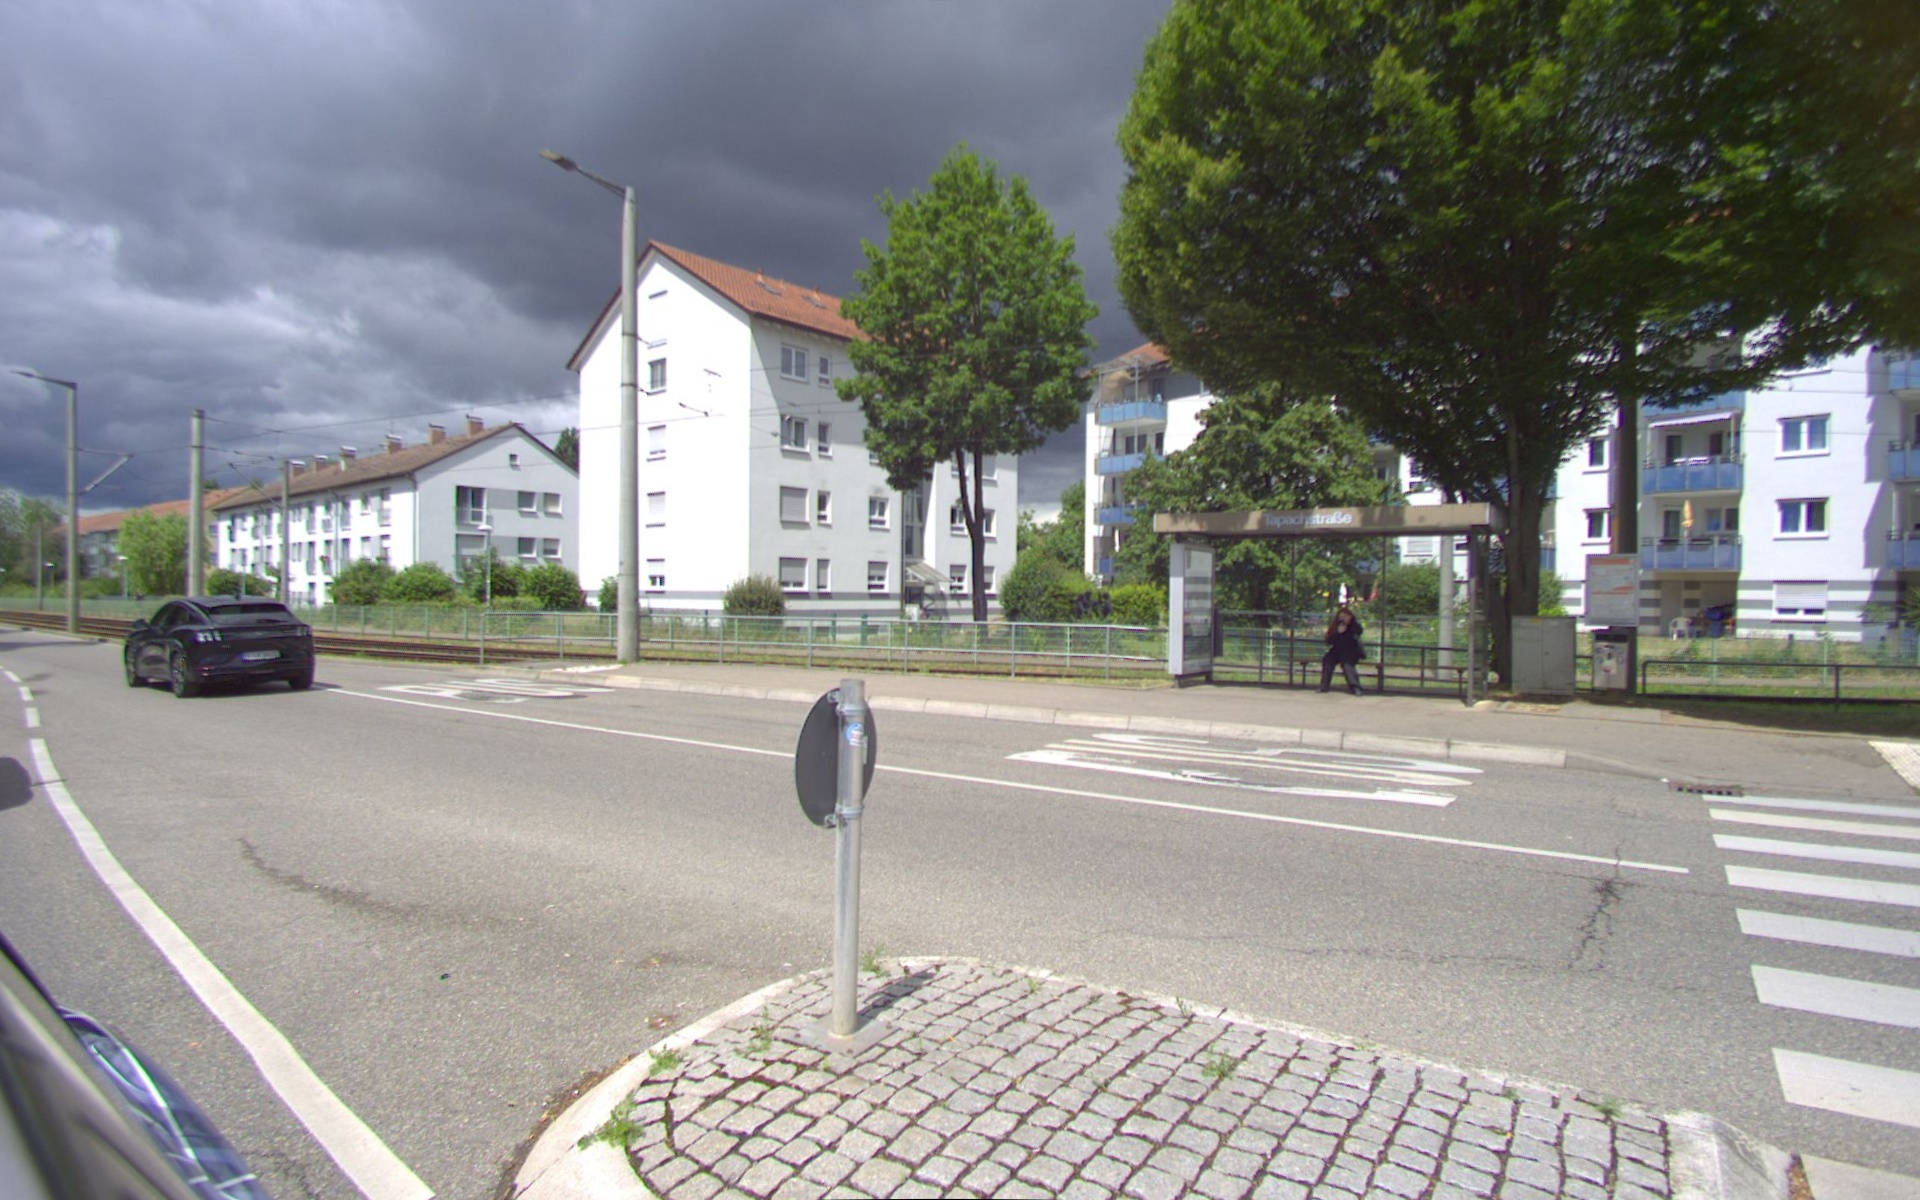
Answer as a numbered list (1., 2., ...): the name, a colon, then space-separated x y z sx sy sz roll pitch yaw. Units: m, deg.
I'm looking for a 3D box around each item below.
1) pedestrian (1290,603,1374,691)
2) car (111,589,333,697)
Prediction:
1. pedestrian: 5.133 0.617 13.947 0.910 1.144 0.791 0 1 37
2. car: -12.740 0.635 17.366 4.520 1.537 1.974 2 1 39
